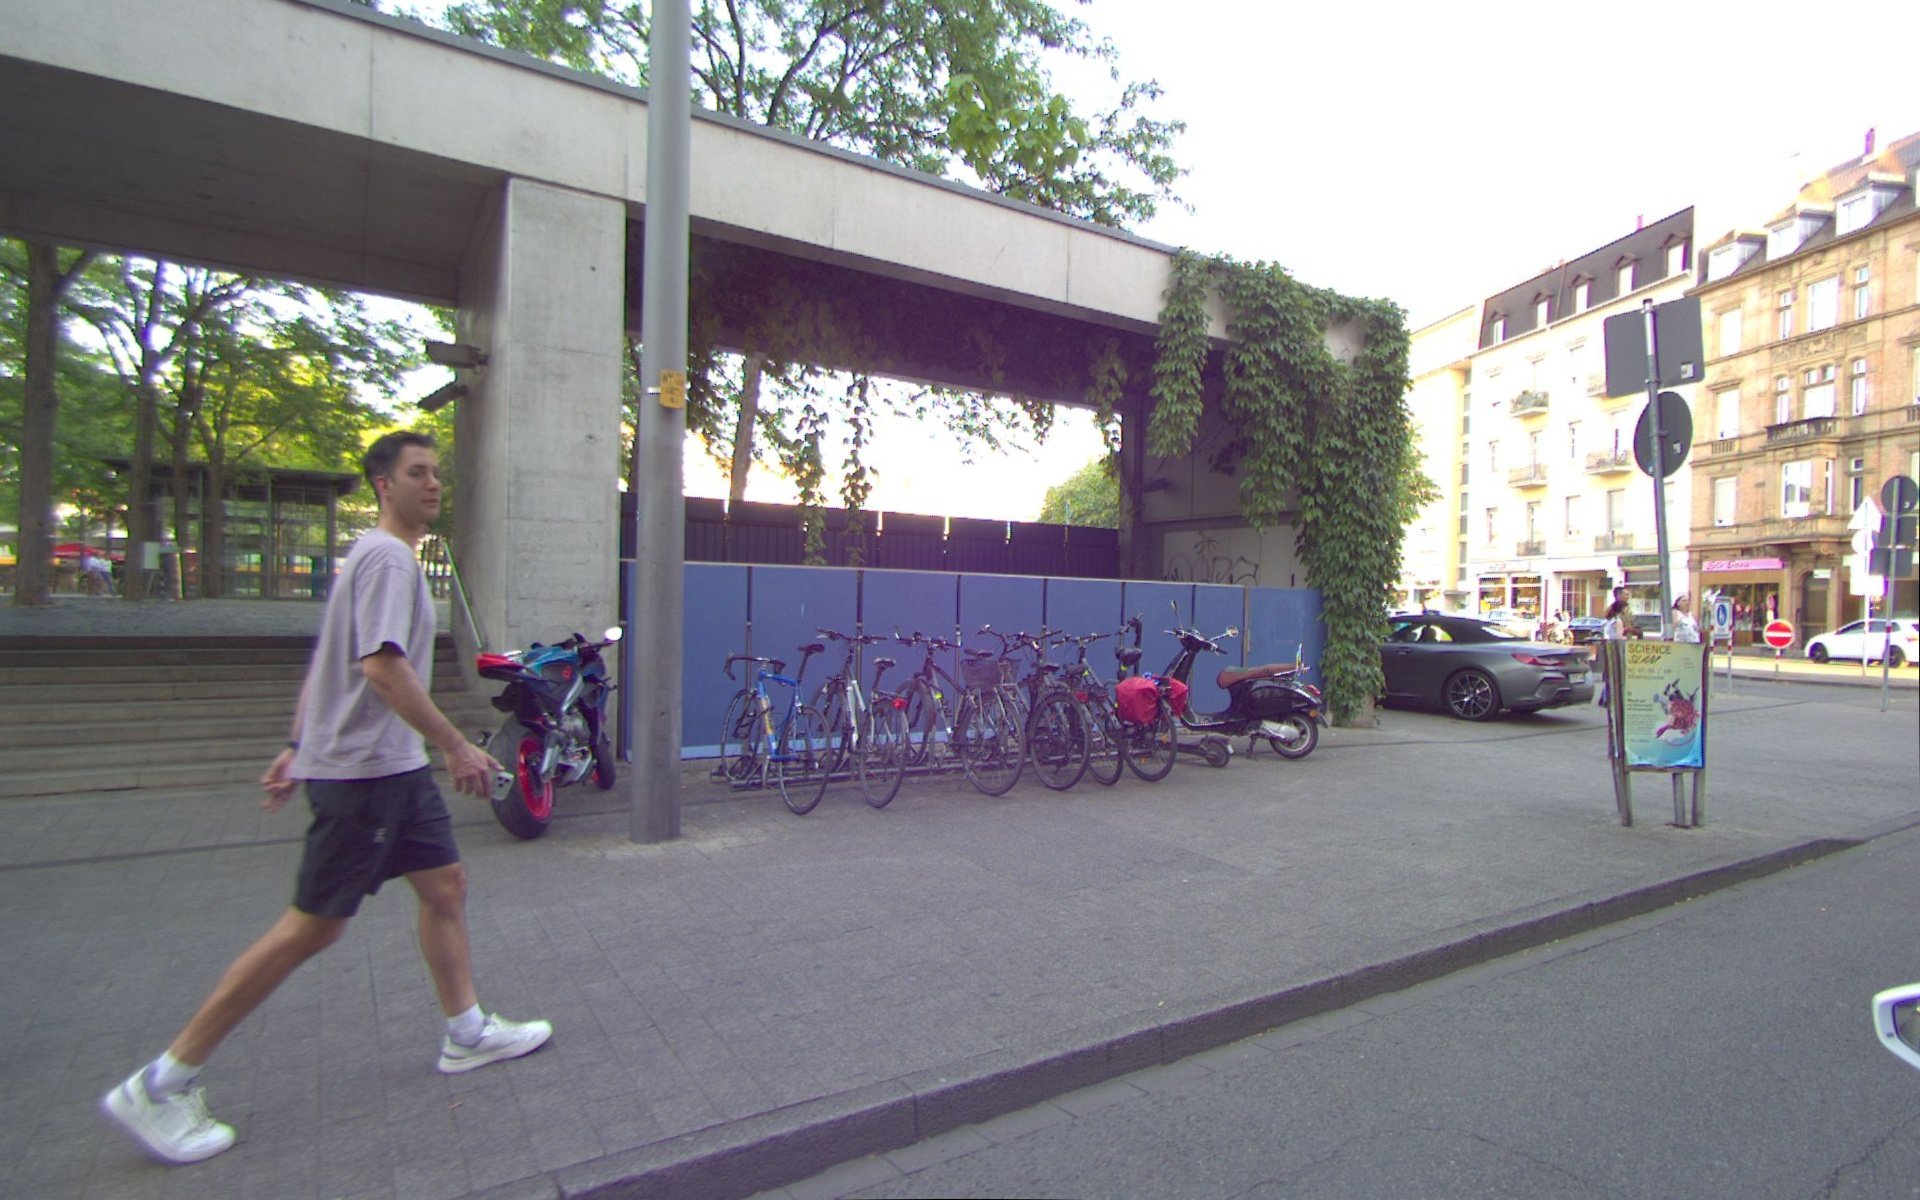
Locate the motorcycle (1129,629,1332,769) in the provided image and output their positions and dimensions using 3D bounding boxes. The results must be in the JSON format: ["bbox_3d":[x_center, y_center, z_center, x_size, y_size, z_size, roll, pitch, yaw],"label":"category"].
[{"bbox_3d":[2.502,0.877,9.331,1.718,1.116,0.566,3,2,25],"label":"motorcycle"}]

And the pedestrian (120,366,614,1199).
[{"bbox_3d":[-1.597,0.443,2.810,1.038,1.919,0.740,1,2,-31],"label":"pedestrian"}]

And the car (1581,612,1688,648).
[{"bbox_3d":[30.442,1.316,45.459,1.767,1.530,3.994,2,-1,-9],"label":"car"}]

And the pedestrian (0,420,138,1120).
[{"bbox_3d":[-2.974,0.437,2.764,0.998,1.837,0.737,1,1,-32],"label":"pedestrian"}]

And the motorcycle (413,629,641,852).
[{"bbox_3d":[-2.549,0.767,6.157,0.750,1.078,1.804,2,1,-6],"label":"motorcycle"}]

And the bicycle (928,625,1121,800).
[{"bbox_3d":[0.444,0.803,7.857,0.495,1.122,1.783,1,2,-34],"label":"bicycle"}]

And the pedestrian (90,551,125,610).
[{"bbox_3d":[-34.716,-0.777,40.917,0.726,2.362,0.815,1,0,-10],"label":"pedestrian"}]

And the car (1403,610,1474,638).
[{"bbox_3d":[27.857,1.346,58.582,1.767,1.530,3.994,2,-1,-9],"label":"car"}]

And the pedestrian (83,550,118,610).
[{"bbox_3d":[-34.334,-0.778,40.123,0.726,2.362,0.815,1,0,-9],"label":"pedestrian"}]

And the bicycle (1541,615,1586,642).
[{"bbox_3d":[26.558,1.234,44.264,0.529,1.122,1.794,1,1,-16],"label":"bicycle"}]

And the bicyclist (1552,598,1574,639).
[{"bbox_3d":[26.567,0.796,44.267,0.517,1.780,0.617,1,1,-16],"label":"bicyclist"}]

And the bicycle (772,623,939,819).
[{"bbox_3d":[-0.799,0.773,7.136,0.494,1.122,1.786,1,2,-29],"label":"bicycle"}]

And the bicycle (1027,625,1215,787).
[{"bbox_3d":[1.292,0.819,8.431,0.494,1.122,1.784,1,2,-31],"label":"bicycle"}]

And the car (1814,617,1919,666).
[{"bbox_3d":[31.616,1.389,33.944,1.767,1.530,3.994,2,-1,-9],"label":"car"}]

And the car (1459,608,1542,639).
[{"bbox_3d":[28.422,1.231,52.938,1.767,1.530,3.994,2,-1,-9],"label":"car"}]

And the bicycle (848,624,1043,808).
[{"bbox_3d":[-0.163,0.792,7.516,0.495,1.122,1.781,1,2,-36],"label":"bicycle"}]

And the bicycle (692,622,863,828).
[{"bbox_3d":[-1.293,0.762,6.817,0.494,1.122,1.784,1,2,-32],"label":"bicycle"}]

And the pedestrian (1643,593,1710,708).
[{"bbox_3d":[11.301,0.781,15.866,0.644,1.769,0.674,1,0,15],"label":"pedestrian"}]

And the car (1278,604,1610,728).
[{"bbox_3d":[6.875,0.831,14.590,1.875,1.521,3.954,1,0,-39],"label":"car"}]

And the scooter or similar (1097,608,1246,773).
[{"bbox_3d":[1.821,0.744,8.747,1.191,1.291,0.419,3,2,43],"label":"scooter or similar"}]

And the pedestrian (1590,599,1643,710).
[{"bbox_3d":[10.042,0.814,15.367,0.514,1.665,0.498,1,0,-30],"label":"pedestrian"}]

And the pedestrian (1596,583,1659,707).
[{"bbox_3d":[10.506,0.694,15.804,0.625,1.907,0.581,1,0,-26],"label":"pedestrian"}]

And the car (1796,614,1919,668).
[{"bbox_3d":[27.882,1.199,30.390,1.846,1.492,4.000,1,0,0],"label":"car"}]

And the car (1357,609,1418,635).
[{"bbox_3d":[27.401,1.381,64.486,1.767,1.530,3.994,2,-1,-9],"label":"car"}]
